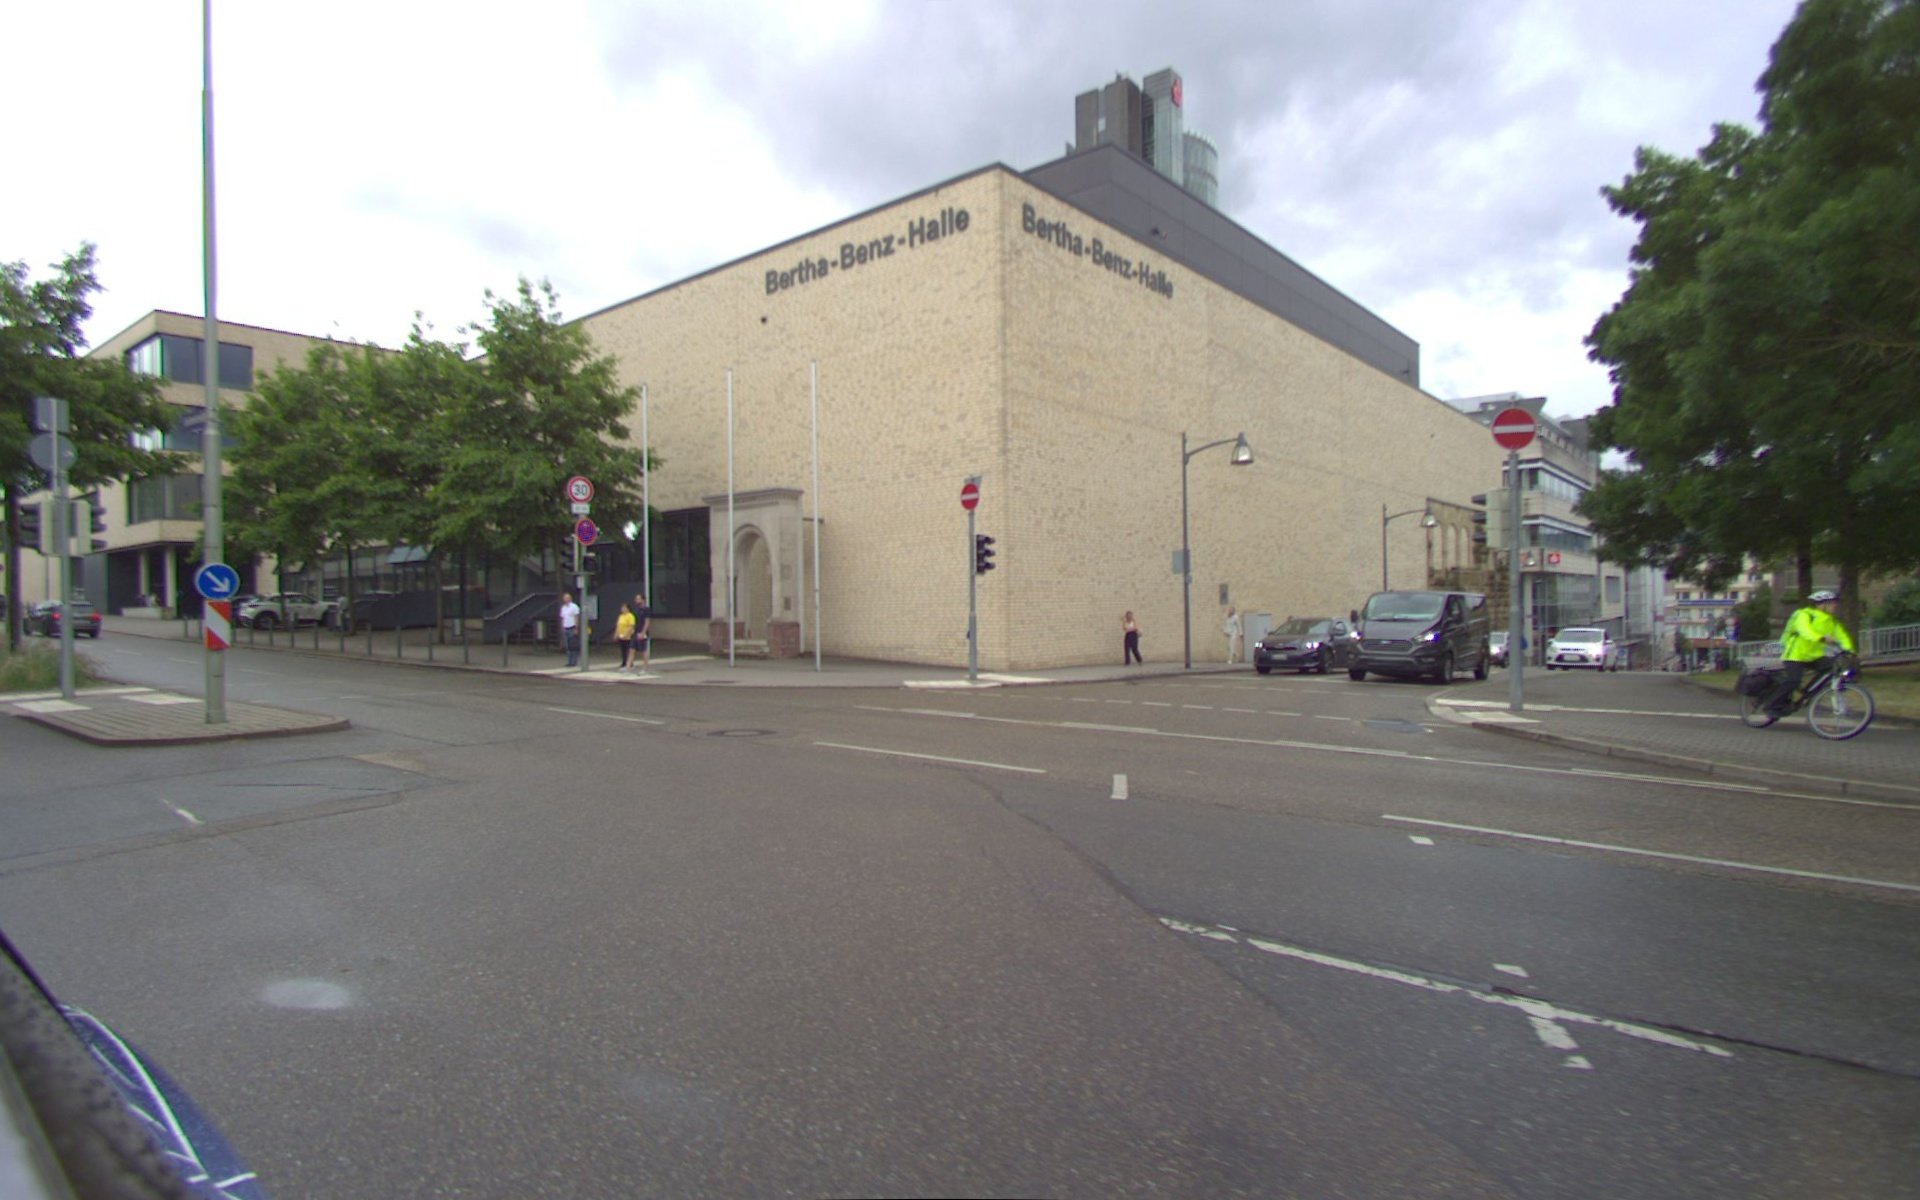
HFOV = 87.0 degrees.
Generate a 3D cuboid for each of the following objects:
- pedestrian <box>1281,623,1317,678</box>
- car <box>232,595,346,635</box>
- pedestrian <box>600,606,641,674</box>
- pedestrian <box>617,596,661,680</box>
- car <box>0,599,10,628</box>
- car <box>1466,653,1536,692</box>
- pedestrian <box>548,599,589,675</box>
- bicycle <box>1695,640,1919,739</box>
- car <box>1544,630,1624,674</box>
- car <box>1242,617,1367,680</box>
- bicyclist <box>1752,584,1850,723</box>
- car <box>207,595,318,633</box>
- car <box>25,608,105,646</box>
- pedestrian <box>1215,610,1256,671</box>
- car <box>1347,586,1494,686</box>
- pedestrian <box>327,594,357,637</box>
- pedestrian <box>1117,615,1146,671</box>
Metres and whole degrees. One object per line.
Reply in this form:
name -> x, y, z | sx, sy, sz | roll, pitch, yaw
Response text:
pedestrian -> 11.109, 1.638, 33.170 | 0.806, 1.684, 1.100 | 0, 2, 37
car -> -30.506, 0.638, 46.048 | 2.000, 1.597, 3.943 | 0, 2, 43
pedestrian -> -7.884, 0.921, 23.494 | 0.691, 1.527, 0.588 | 0, 2, 38
pedestrian -> -7.026, 0.807, 22.150 | 0.691, 1.784, 0.588 | 0, 2, 39
car -> -55.807, 0.772, 57.731 | 4.294, 1.620, 1.655 | 0, -3, 38
car -> 22.409, 2.974, 41.832 | 1.996, 1.469, 3.950 | 0, -3, 37
pedestrian -> -9.258, 0.869, 23.923 | 0.690, 1.744, 0.589 | 0, 2, 35
bicycle -> 9.405, 0.953, 11.295 | 1.866, 0.914, 0.876 | 0, 2, 42
car -> 22.644, 1.914, 36.668 | 1.998, 1.469, 3.948 | -1, -4, 39
car -> 8.829, 1.238, 25.726 | 1.996, 1.453, 3.952 | 0, -3, 35
bicyclist -> 9.379, 0.558, 11.286 | 0.812, 1.453, 0.833 | 0, 2, 41
car -> -32.626, 0.621, 47.409 | 2.000, 1.597, 3.943 | 0, 2, 43
car -> -36.463, 1.095, 41.206 | 4.294, 1.481, 1.655 | 0, -2, 38
pedestrian -> 8.178, 1.193, 30.071 | 0.806, 1.713, 1.100 | 0, 2, 37
car -> 10.174, 0.825, 22.153 | 1.996, 1.940, 4.733 | 0, -3, 37
pedestrian -> -24.595, 0.593, 40.281 | 0.793, 1.659, 0.977 | -3, 2, -44
pedestrian -> 4.411, 1.093, 26.063 | 0.474, 1.386, 0.614 | 0, 2, 40
